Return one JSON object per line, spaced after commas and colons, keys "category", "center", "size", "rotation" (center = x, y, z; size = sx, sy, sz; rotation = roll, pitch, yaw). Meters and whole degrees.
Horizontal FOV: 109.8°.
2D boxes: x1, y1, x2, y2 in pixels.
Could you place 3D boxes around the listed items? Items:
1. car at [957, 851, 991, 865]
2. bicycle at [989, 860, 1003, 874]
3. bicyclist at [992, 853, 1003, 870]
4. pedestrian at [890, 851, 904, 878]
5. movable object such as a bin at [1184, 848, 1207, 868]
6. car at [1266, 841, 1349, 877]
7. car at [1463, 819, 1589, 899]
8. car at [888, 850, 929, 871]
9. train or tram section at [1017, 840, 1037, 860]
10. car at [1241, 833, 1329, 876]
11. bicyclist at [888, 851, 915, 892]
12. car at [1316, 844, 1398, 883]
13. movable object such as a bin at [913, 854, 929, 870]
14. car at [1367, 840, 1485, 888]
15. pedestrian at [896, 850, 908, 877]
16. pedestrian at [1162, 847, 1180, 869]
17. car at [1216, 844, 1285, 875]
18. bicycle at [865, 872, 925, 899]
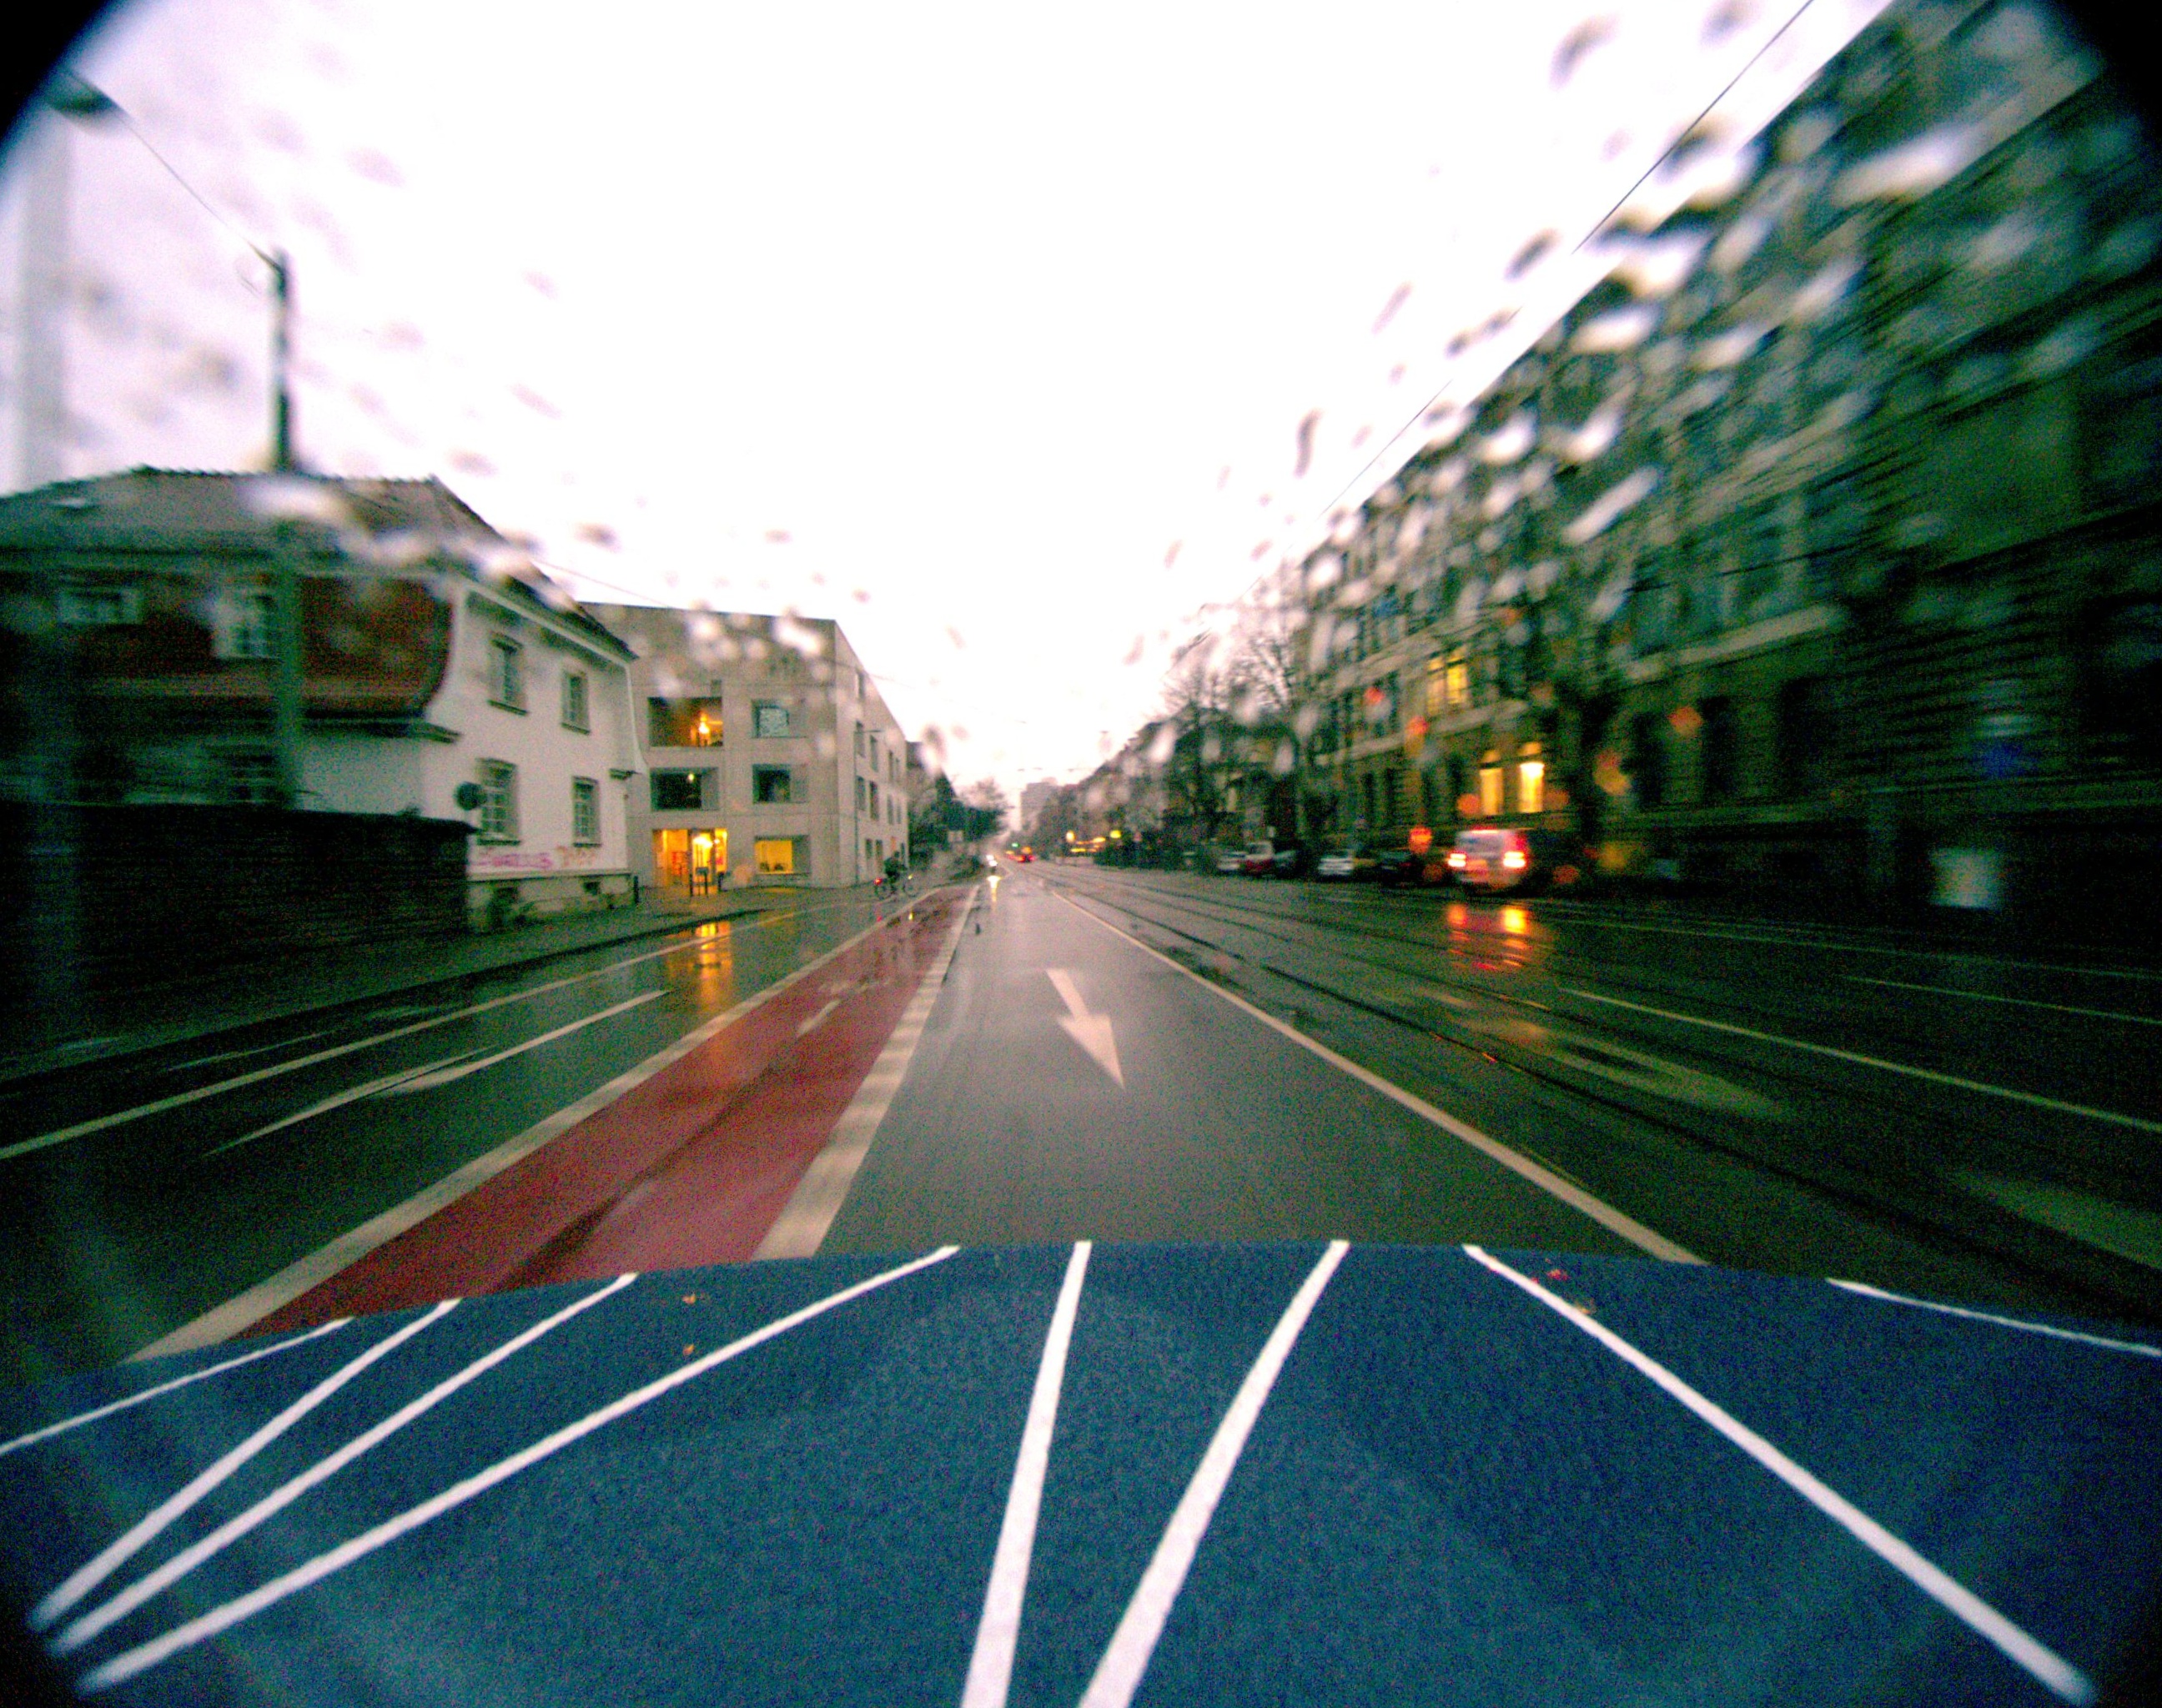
{"category": "car", "center": [-13.653, 0.516, 96.591], "size": [3.860, 1.421, 1.859], "rotation": [-4, 1, -23]}
{"category": "bicycle", "center": [-6.682, 1.014, 59.759], "size": [0.723, 1.084, 2.286], "rotation": [-3, -1, 1]}
{"category": "bicyclist", "center": [-6.602, 0.598, 59.907], "size": [0.717, 1.335, 0.719], "rotation": [-4, 1, 1]}
{"category": "pedestrian", "center": [-12.382, 0.695, 51.181], "size": [0.773, 1.848, 0.718], "rotation": [-1, 1, -4]}
{"category": "movable object such as a bin", "center": [8.846, 0.284, 58.856], "size": [0.988, 1.456, 1.340], "rotation": [-5, 2, -44]}
{"category": "car", "center": [11.503, 0.232, 38.491], "size": [3.982, 1.531, 1.819], "rotation": [-4, 1, -34]}
{"category": "car", "center": [13.380, 0.099, 22.694], "size": [4.812, 2.022, 1.907], "rotation": [-5, 2, -44]}
{"category": "car", "center": [-15.964, 0.598, 70.370], "size": [3.460, 1.638, 1.730], "rotation": [-4, 1, -6]}
{"category": "train or tram section", "center": [-11.622, -0.864, 162.238], "size": [2.887, 3.715, 27.314], "rotation": [-4, 1, -6]}
{"category": "car", "center": [11.188, 0.014, 41.586], "size": [4.629, 2.042, 1.961], "rotation": [-4, 1, -33]}
{"category": "bicyclist", "center": [-7.052, 0.686, 29.855], "size": [0.856, 1.586, 0.780], "rotation": [-1, 1, -2]}
{"category": "car", "center": [12.220, 0.405, 33.563], "size": [3.833, 1.449, 1.633], "rotation": [-5, 1, -40]}
{"category": "movable object such as a bin", "center": [-14.829, 0.704, 70.364], "size": [1.260, 1.437, 1.418], "rotation": [-1, 1, -6]}
{"category": "car", "center": [12.930, 0.346, 28.392], "size": [4.483, 1.449, 1.796], "rotation": [-4, 1, -33]}
{"category": "pedestrian", "center": [-12.048, 0.639, 51.206], "size": [0.658, 1.849, 0.659], "rotation": [-1, 1, -5]}
{"category": "pedestrian", "center": [7.158, 0.299, 60.394], "size": [0.925, 1.693, 0.946], "rotation": [-5, 2, -29]}
{"category": "car", "center": [10.616, 0.336, 47.517], "size": [4.191, 1.582, 1.771], "rotation": [-5, 1, -35]}
{"category": "bicycle", "center": [-7.293, 1.226, 29.919], "size": [2.121, 0.939, 0.944], "rotation": [-2, 1, -2]}
